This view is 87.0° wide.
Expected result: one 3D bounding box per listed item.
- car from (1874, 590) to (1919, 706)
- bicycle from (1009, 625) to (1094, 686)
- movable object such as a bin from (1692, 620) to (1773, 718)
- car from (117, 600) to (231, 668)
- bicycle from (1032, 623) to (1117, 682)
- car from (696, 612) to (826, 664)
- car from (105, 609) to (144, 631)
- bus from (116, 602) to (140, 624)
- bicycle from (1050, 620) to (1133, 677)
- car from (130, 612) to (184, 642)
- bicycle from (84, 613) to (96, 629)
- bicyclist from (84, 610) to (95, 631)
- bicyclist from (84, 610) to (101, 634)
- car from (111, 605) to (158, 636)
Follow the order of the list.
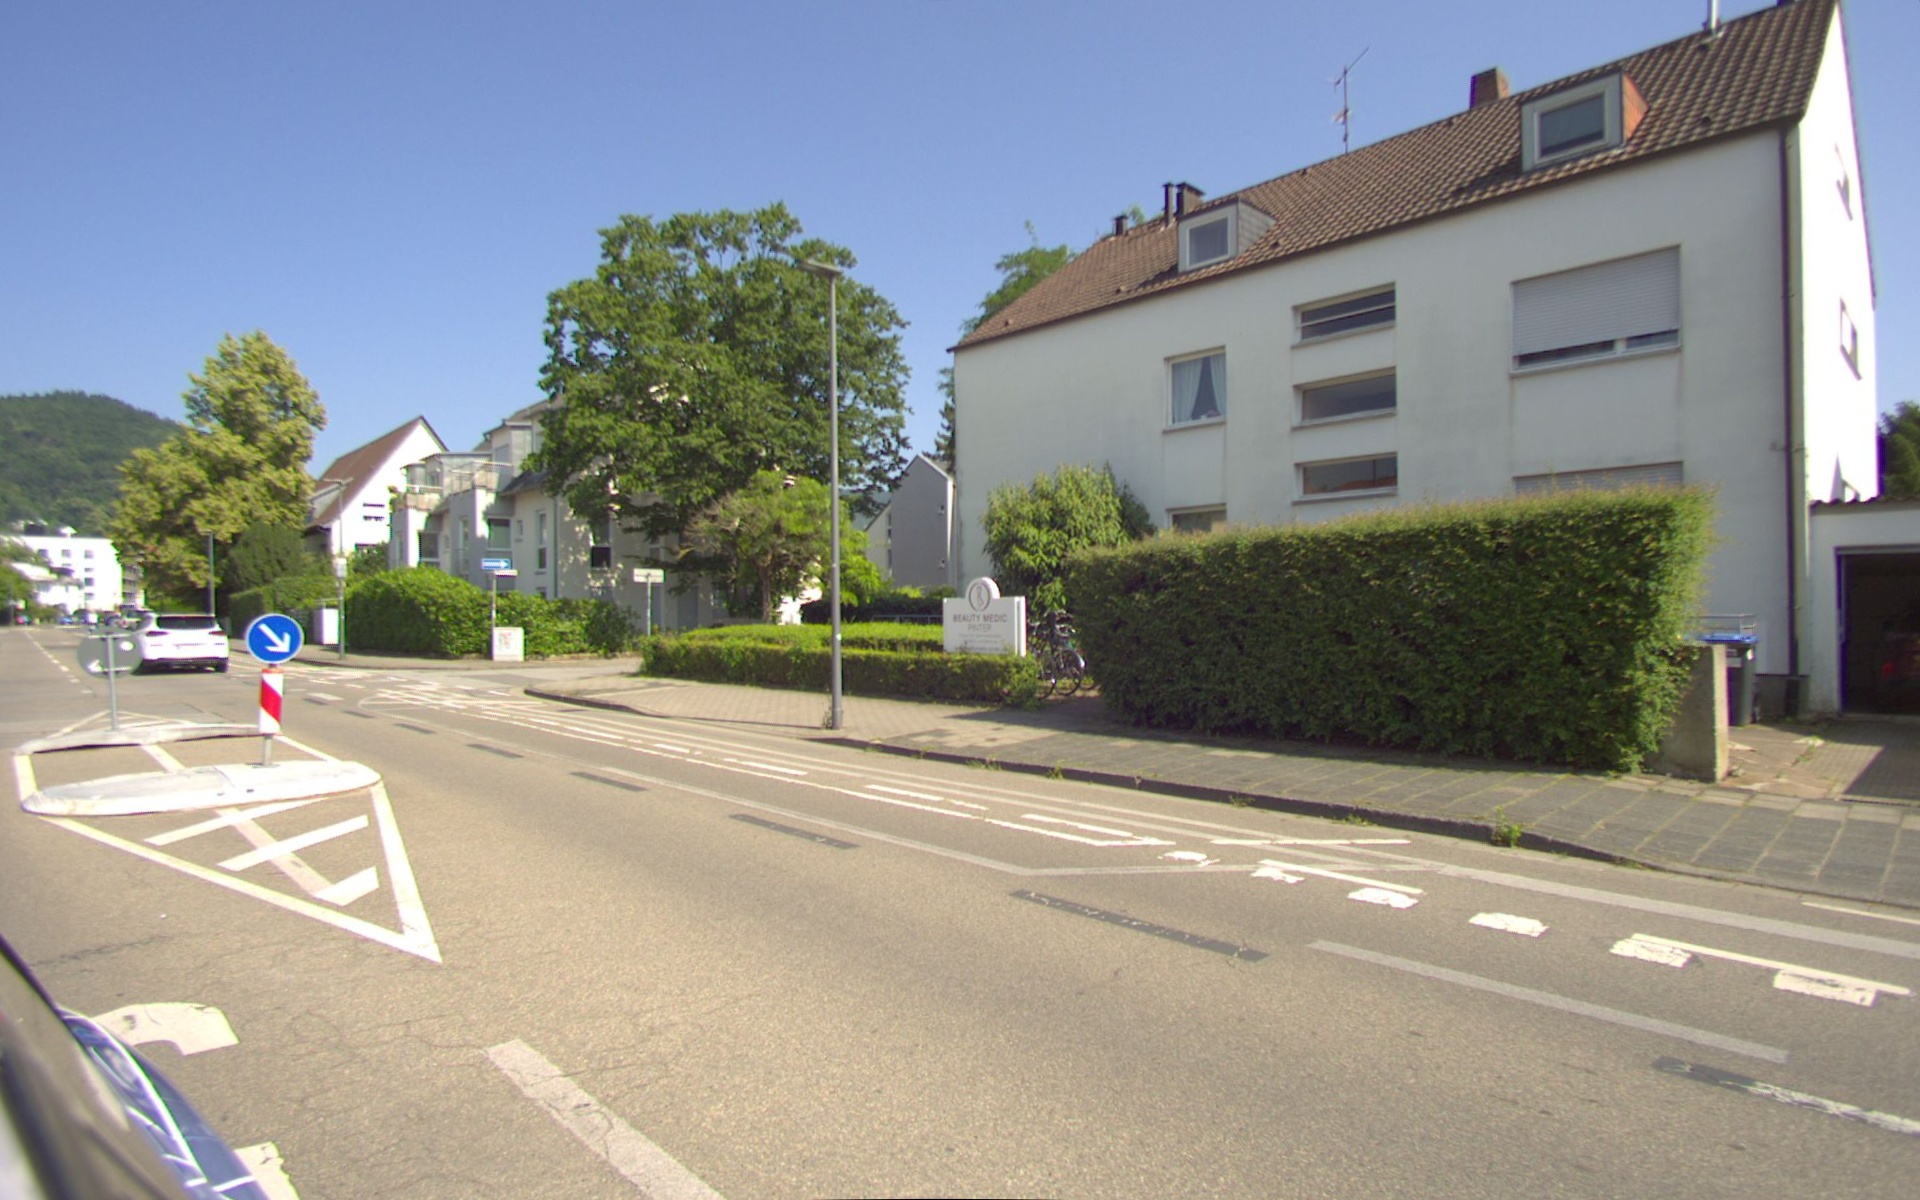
[{"bbox_3d":[13.526,0.587,13.541,1.900,1.426,3.944,-1,-1,42],"label":"car"},{"bbox_3d":[1.421,0.848,15.863,1.369,0.880,0.330,0,4,41],"label":"bicycle"},{"bbox_3d":[9.195,0.793,12.041,0.707,1.100,0.693,-1,-1,42],"label":"movable object such as a bin"},{"bbox_3d":[-21.195,0.884,27.224,1.892,1.679,4.509,2,-2,-44],"label":"car"},{"bbox_3d":[1.816,0.820,16.154,1.369,0.880,0.330,0,4,41],"label":"bicycle"},{"bbox_3d":[-5.894,1.083,30.144,3.452,1.423,1.728,0,-1,-44],"label":"car"},{"bbox_3d":[-60.132,1.448,72.813,1.811,1.497,4.566,3,-3,-43],"label":"car"},{"bbox_3d":[-127.965,2.048,155.633,2.710,3.198,9.795,3,-3,-39],"label":"bus"},{"bbox_3d":[2.146,0.778,16.632,1.369,0.880,0.330,0,4,41],"label":"bicycle"},{"bbox_3d":[-44.068,1.451,55.525,1.829,1.623,4.451,1,-1,-45],"label":"car"},{"bbox_3d":[-62.604,1.514,72.810,0.593,1.113,1.348,3,-3,-43],"label":"bicycle"},{"bbox_3d":[-62.561,1.469,72.744,0.484,1.465,0.965,3,-3,-43],"label":"bicyclist"},{"bbox_3d":[-59.680,1.511,69.620,0.668,1.592,0.860,10,-7,-43],"label":"bicyclist"},{"bbox_3d":[-53.239,1.310,65.246,4.870,1.934,1.863,0,-1,45],"label":"car"}]
